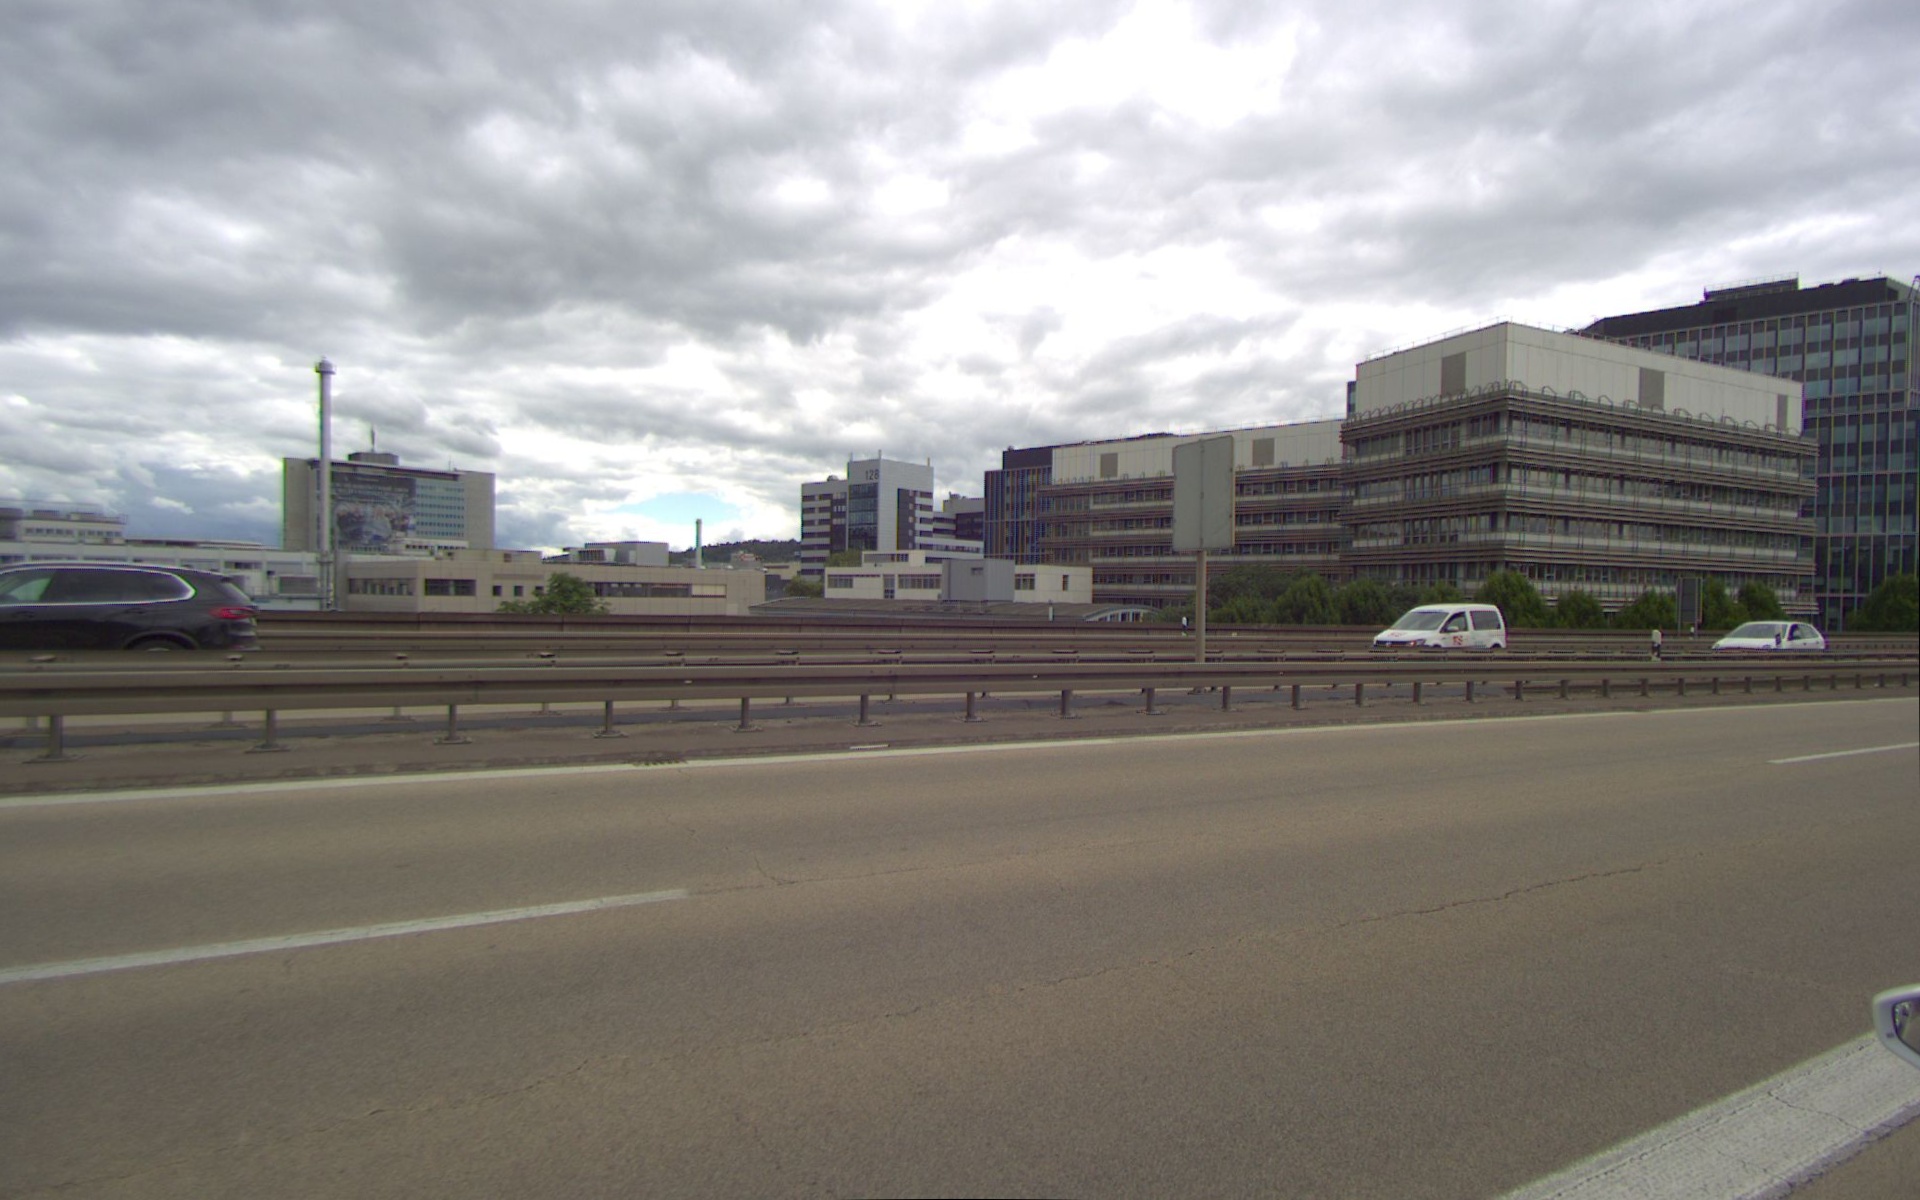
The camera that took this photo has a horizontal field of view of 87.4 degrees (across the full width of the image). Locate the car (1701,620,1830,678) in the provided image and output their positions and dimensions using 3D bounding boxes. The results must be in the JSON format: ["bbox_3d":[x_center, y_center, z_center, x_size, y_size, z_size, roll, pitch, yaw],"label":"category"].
[{"bbox_3d":[23.539,1.381,29.331,3.955,1.581,1.740,1,-1,-32],"label":"car"}]

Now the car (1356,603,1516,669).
[{"bbox_3d":[13.325,0.981,28.060,4.549,1.734,1.858,1,-1,-31],"label":"car"}]

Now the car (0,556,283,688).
[{"bbox_3d":[-12.070,0.297,13.672,4.577,1.657,1.984,1,-1,-30],"label":"car"}]
